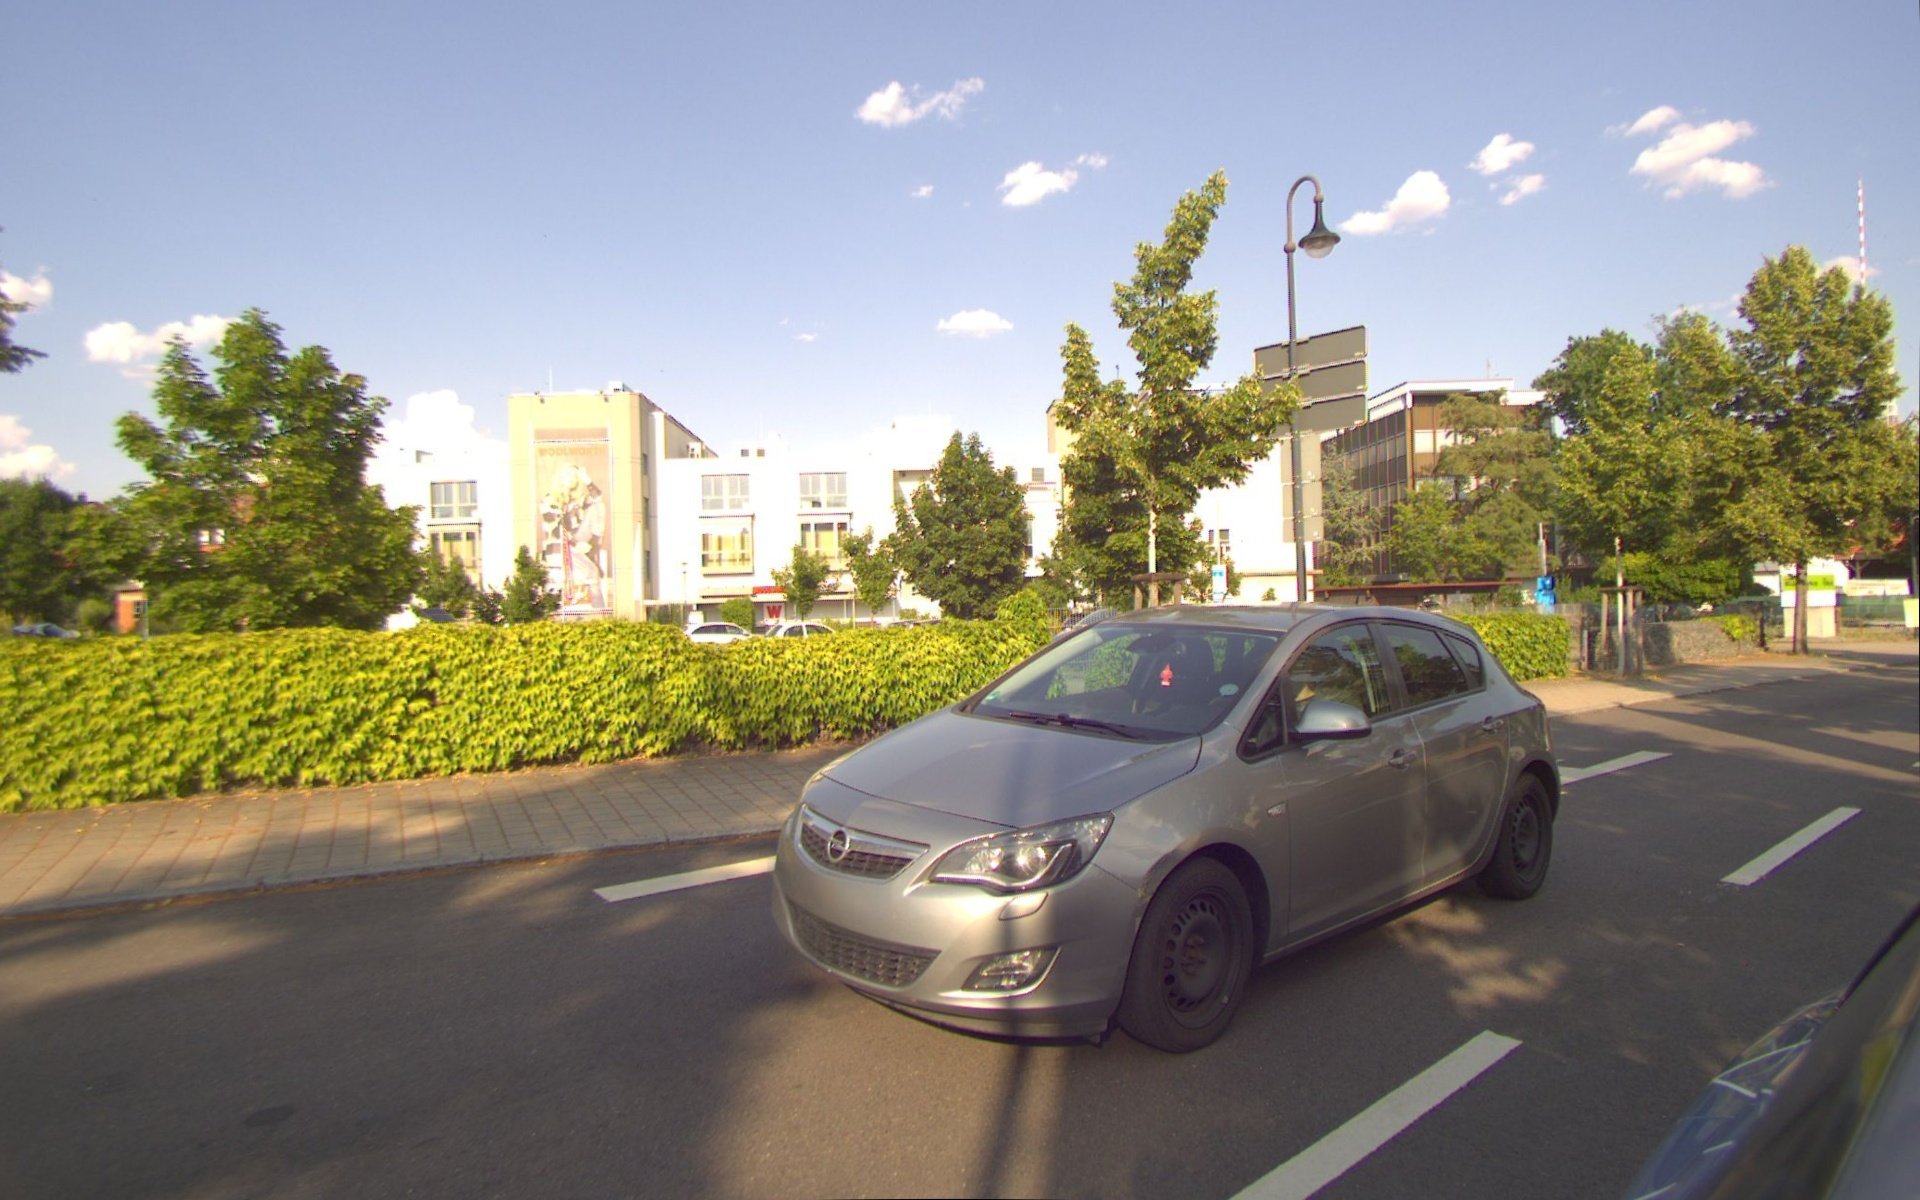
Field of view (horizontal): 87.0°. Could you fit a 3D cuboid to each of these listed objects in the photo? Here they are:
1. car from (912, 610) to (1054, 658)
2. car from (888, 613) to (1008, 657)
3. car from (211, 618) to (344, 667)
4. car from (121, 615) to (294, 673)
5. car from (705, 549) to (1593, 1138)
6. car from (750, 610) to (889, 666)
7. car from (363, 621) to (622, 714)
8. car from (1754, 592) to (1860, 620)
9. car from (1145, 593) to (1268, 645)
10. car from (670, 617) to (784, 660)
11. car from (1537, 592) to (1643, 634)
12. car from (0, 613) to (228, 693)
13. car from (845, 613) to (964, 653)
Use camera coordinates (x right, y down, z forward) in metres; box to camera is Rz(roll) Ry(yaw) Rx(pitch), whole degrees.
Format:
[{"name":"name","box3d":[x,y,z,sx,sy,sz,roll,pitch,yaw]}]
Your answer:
[{"name":"car","box3d":[0.801,1.105,34.426,4.459,1.462,2.001,-1,-1,-33]},{"name":"car","box3d":[-0.421,1.233,36.837,3.876,1.462,2.001,-1,-1,-33]},{"name":"car","box3d":[-25.048,1.522,37.319,3.920,1.649,2.002,-1,0,-29]},{"name":"car","box3d":[-22.410,1.262,30.331,3.920,1.571,2.002,-1,0,-29]},{"name":"car","box3d":[1.175,0.624,4.632,4.230,1.509,1.724,0,0,-40]},{"name":"car","box3d":[-4.739,1.276,34.142,4.227,1.746,1.896,0,-3,-27]},{"name":"car","box3d":[-9.264,1.253,20.134,4.459,1.559,2.001,-1,-1,-33]},{"name":"car","box3d":[46.282,0.329,55.382,1.898,1.438,4.005,-1,-1,-26]},{"name":"car","box3d":[9.551,0.697,39.124,4.556,1.878,2.001,-1,-1,-32]},{"name":"car","box3d":[-9.947,1.589,43.127,4.453,1.669,2.003,-1,-1,-22]},{"name":"car","box3d":[24.167,0.482,38.832,3.786,1.481,1.660,-1,-1,-26]},{"name":"car","box3d":[-19.649,1.171,23.613,3.920,1.649,2.002,-1,0,-29]},{"name":"car","box3d":[-2.218,1.289,41.039,4.459,1.462,1.879,-1,-1,-33]}]
